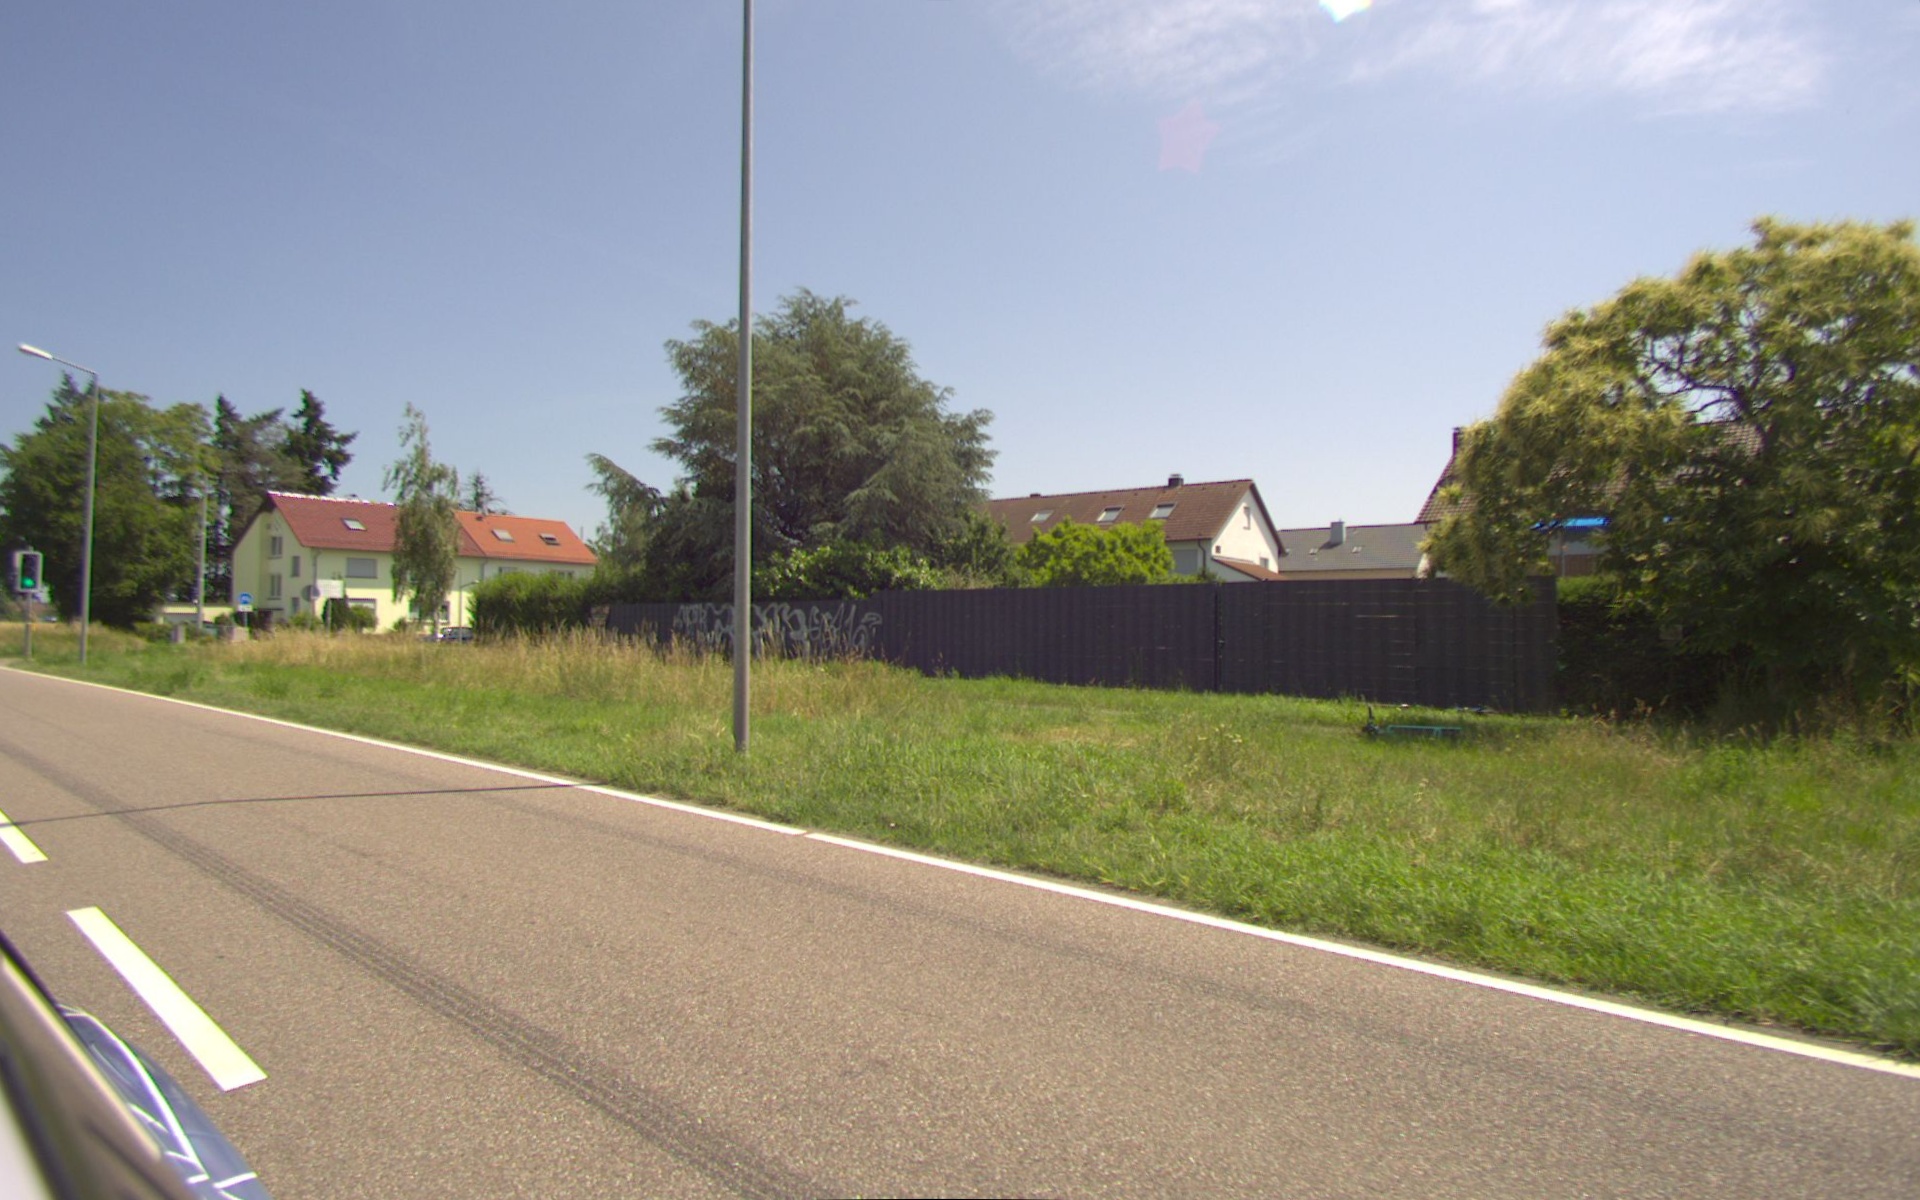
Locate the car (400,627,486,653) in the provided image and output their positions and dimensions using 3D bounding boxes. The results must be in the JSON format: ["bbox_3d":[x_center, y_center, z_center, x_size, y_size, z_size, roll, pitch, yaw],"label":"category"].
[{"bbox_3d":[-29.740,2.295,58.291,1.995,1.364,3.953,-1,-1,34],"label":"car"}]

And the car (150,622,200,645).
[{"bbox_3d":[-53.229,2.247,68.593,4.180,1.503,1.690,-1,-1,38],"label":"car"}]
